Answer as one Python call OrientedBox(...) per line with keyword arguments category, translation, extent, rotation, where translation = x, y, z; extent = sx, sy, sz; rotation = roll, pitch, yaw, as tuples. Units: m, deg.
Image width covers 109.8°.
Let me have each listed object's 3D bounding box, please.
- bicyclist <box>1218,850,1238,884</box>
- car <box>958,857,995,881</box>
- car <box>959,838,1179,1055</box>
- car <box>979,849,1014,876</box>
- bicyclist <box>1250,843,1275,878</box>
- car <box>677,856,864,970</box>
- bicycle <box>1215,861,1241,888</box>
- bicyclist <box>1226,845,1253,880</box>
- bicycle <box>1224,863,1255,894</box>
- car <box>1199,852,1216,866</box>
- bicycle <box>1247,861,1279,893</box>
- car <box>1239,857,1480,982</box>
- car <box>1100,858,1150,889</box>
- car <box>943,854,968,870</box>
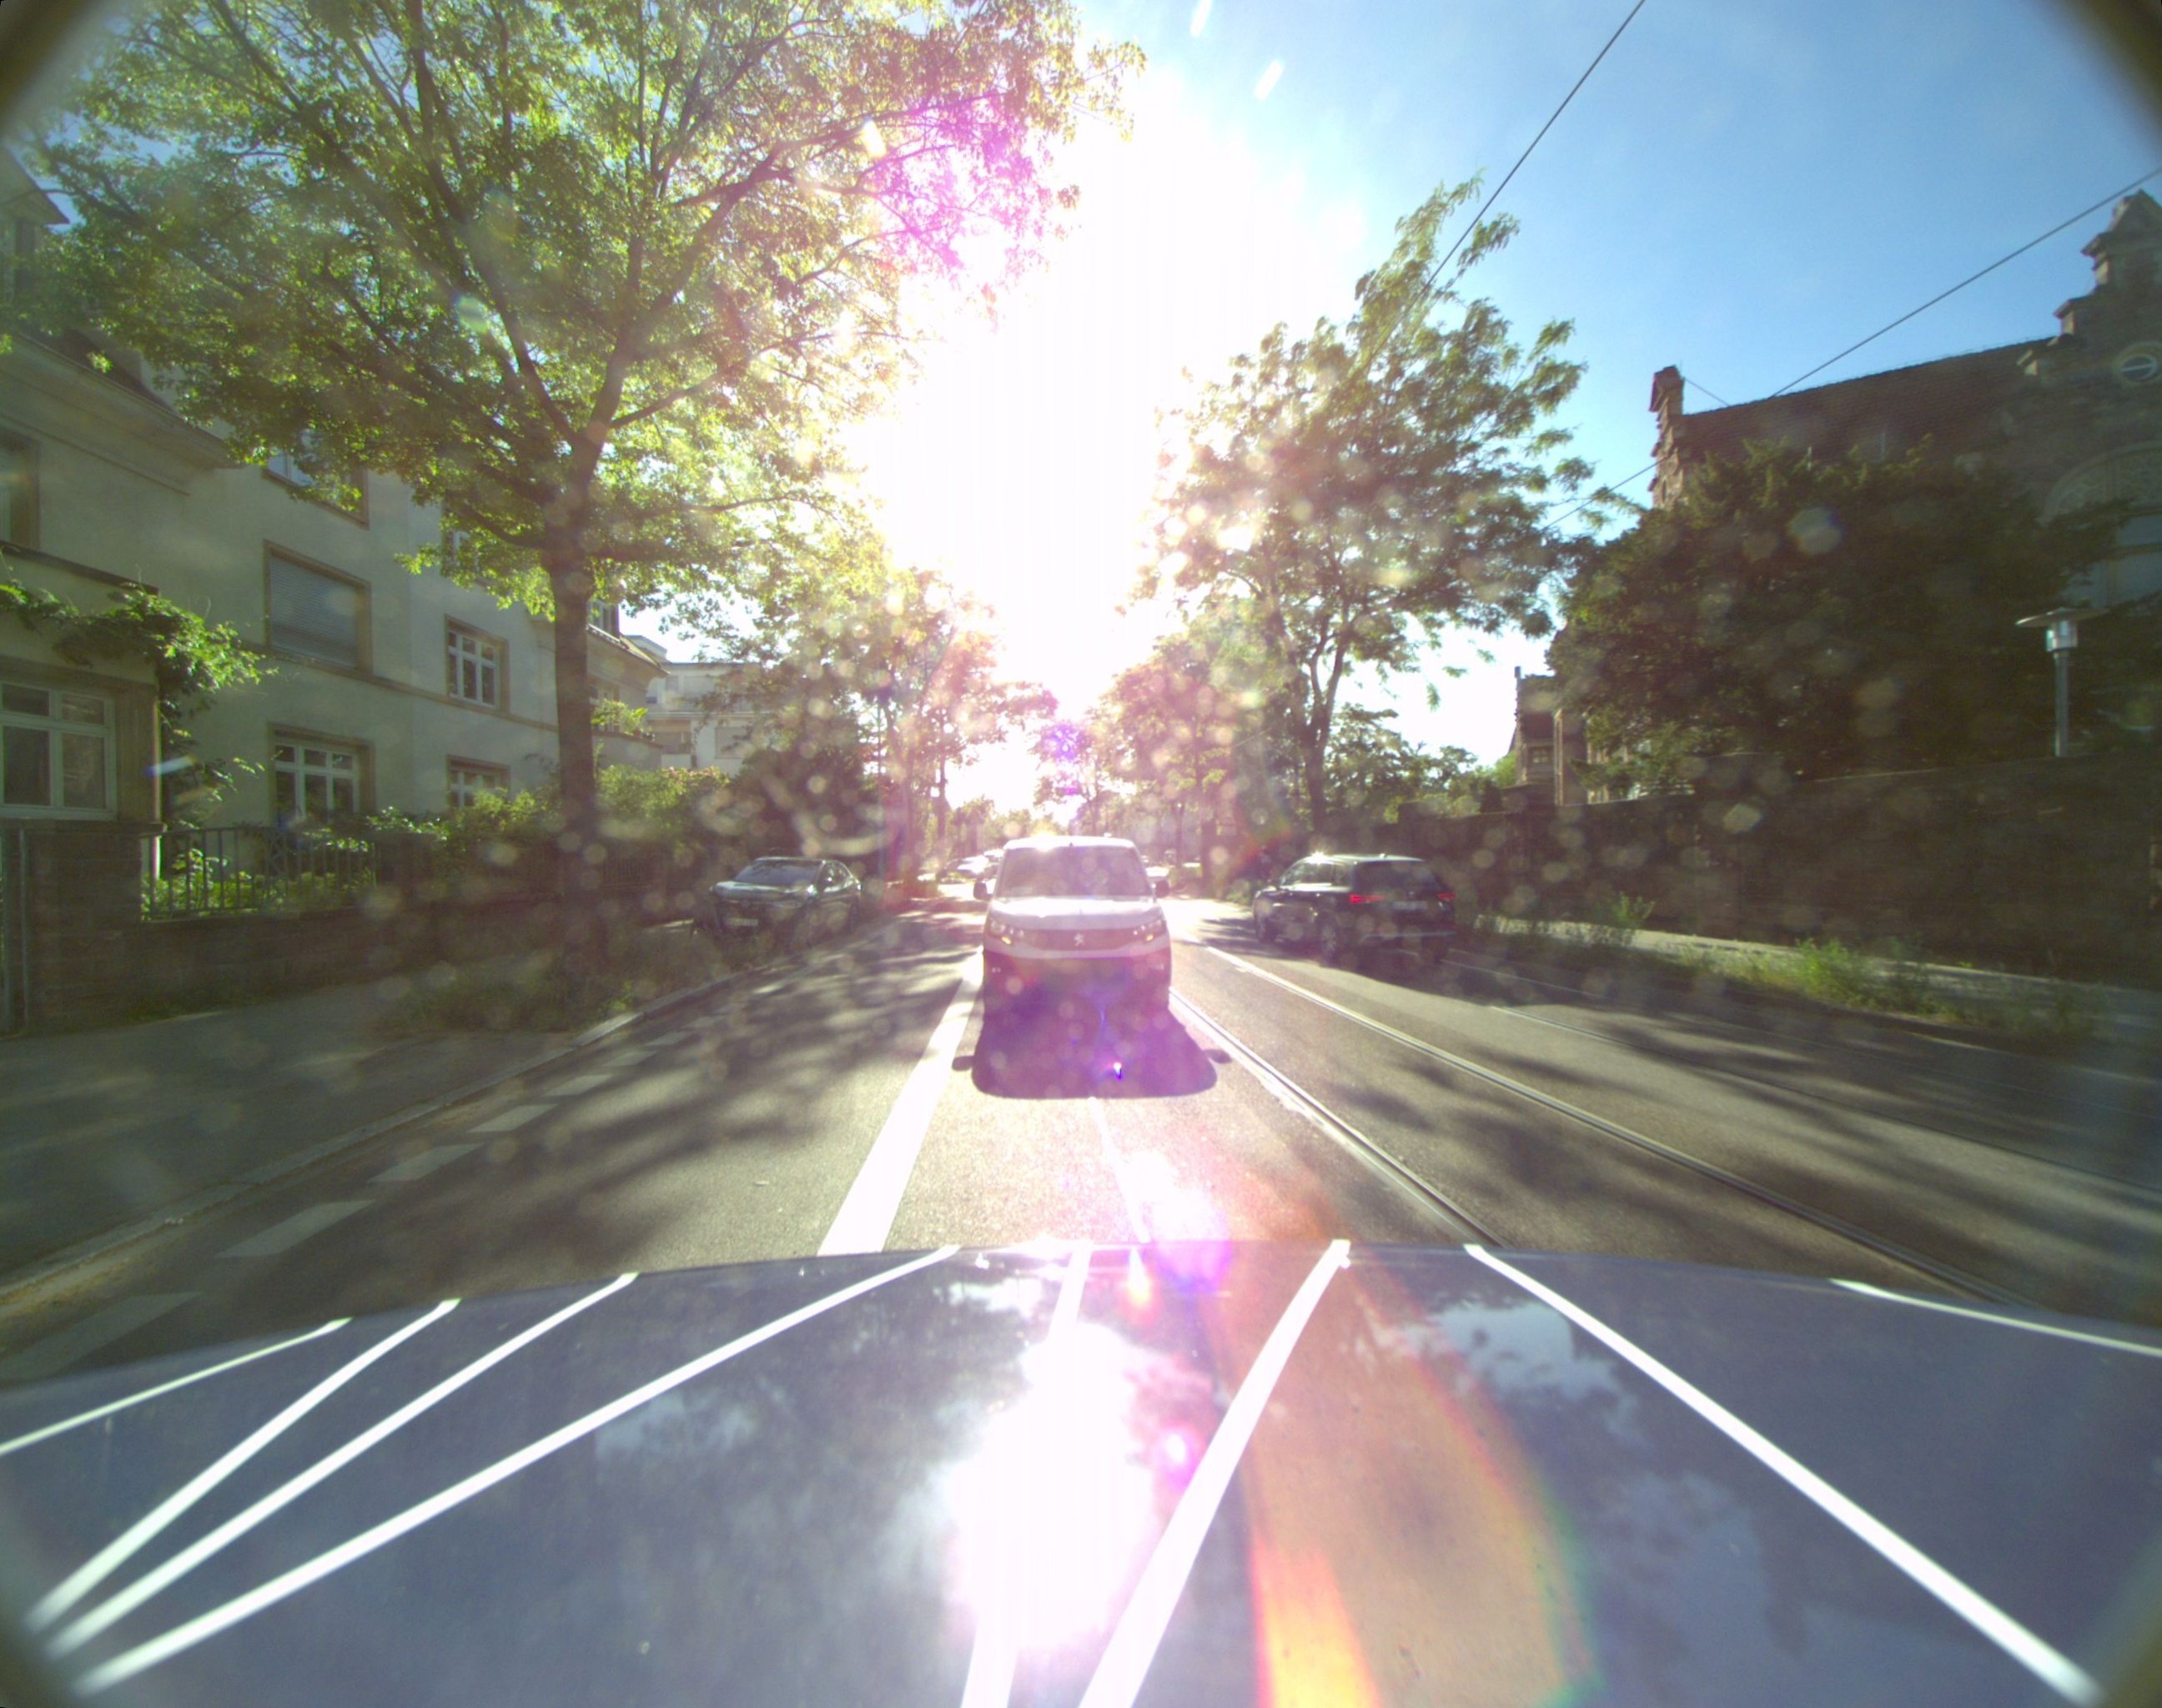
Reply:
OrientedBox(category="bicyclist", translation=(6.793, 0.594, 35.235), extent=(0.744, 1.526, 0.751), rotation=(-2, 1, -1))
OrientedBox(category="car", translation=(-6.613, 0.921, 48.269), extent=(1.719, 1.332, 3.917), rotation=(-2, 1, 1))
OrientedBox(category="car", translation=(-0.201, 0.760, 8.594), extent=(1.832, 1.788, 4.332), rotation=(-1, 1, -3))
OrientedBox(category="car", translation=(-6.026, 0.585, 54.657), extent=(1.904, 1.819, 4.248), rotation=(-2, 1, 1))
OrientedBox(category="bicyclist", translation=(7.365, 0.259, 30.847), extent=(0.734, 1.383, 1.060), rotation=(-2, 1, -1))
OrientedBox(category="car", translation=(-5.640, 0.963, 14.452), extent=(1.999, 1.733, 4.169), rotation=(-2, 1, -3))
OrientedBox(category="bicycle", translation=(6.801, 0.925, 35.219), extent=(0.747, 1.184, 2.087), rotation=(-2, 1, -1))
OrientedBox(category="bicyclist", translation=(6.413, 0.343, 30.827), extent=(0.768, 1.383, 1.272), rotation=(-2, 1, -1))
OrientedBox(category="bicycle", translation=(6.428, 0.978, 30.914), extent=(0.774, 1.184, 2.102), rotation=(-2, 1, -1))
OrientedBox(category="car", translation=(16.025, 0.624, 96.311), extent=(1.830, 1.800, 4.004), rotation=(-1, 1, 13))
OrientedBox(category="bicycle", translation=(7.387, 0.918, 30.949), extent=(0.733, 1.184, 2.087), rotation=(-2, 1, -1))
OrientedBox(category="car", translation=(4.179, 0.923, 12.233), extent=(1.927, 1.606, 4.116), rotation=(-1, -1, -8))
OrientedBox(category="car", translation=(2.154, 0.916, 37.986), extent=(1.741, 1.414, 4.257), rotation=(-1, 0, -7))
OrientedBox(category="car", translation=(-12.132, 0.790, 73.586), extent=(1.741, 1.434, 3.999), rotation=(-2, 1, -1))
